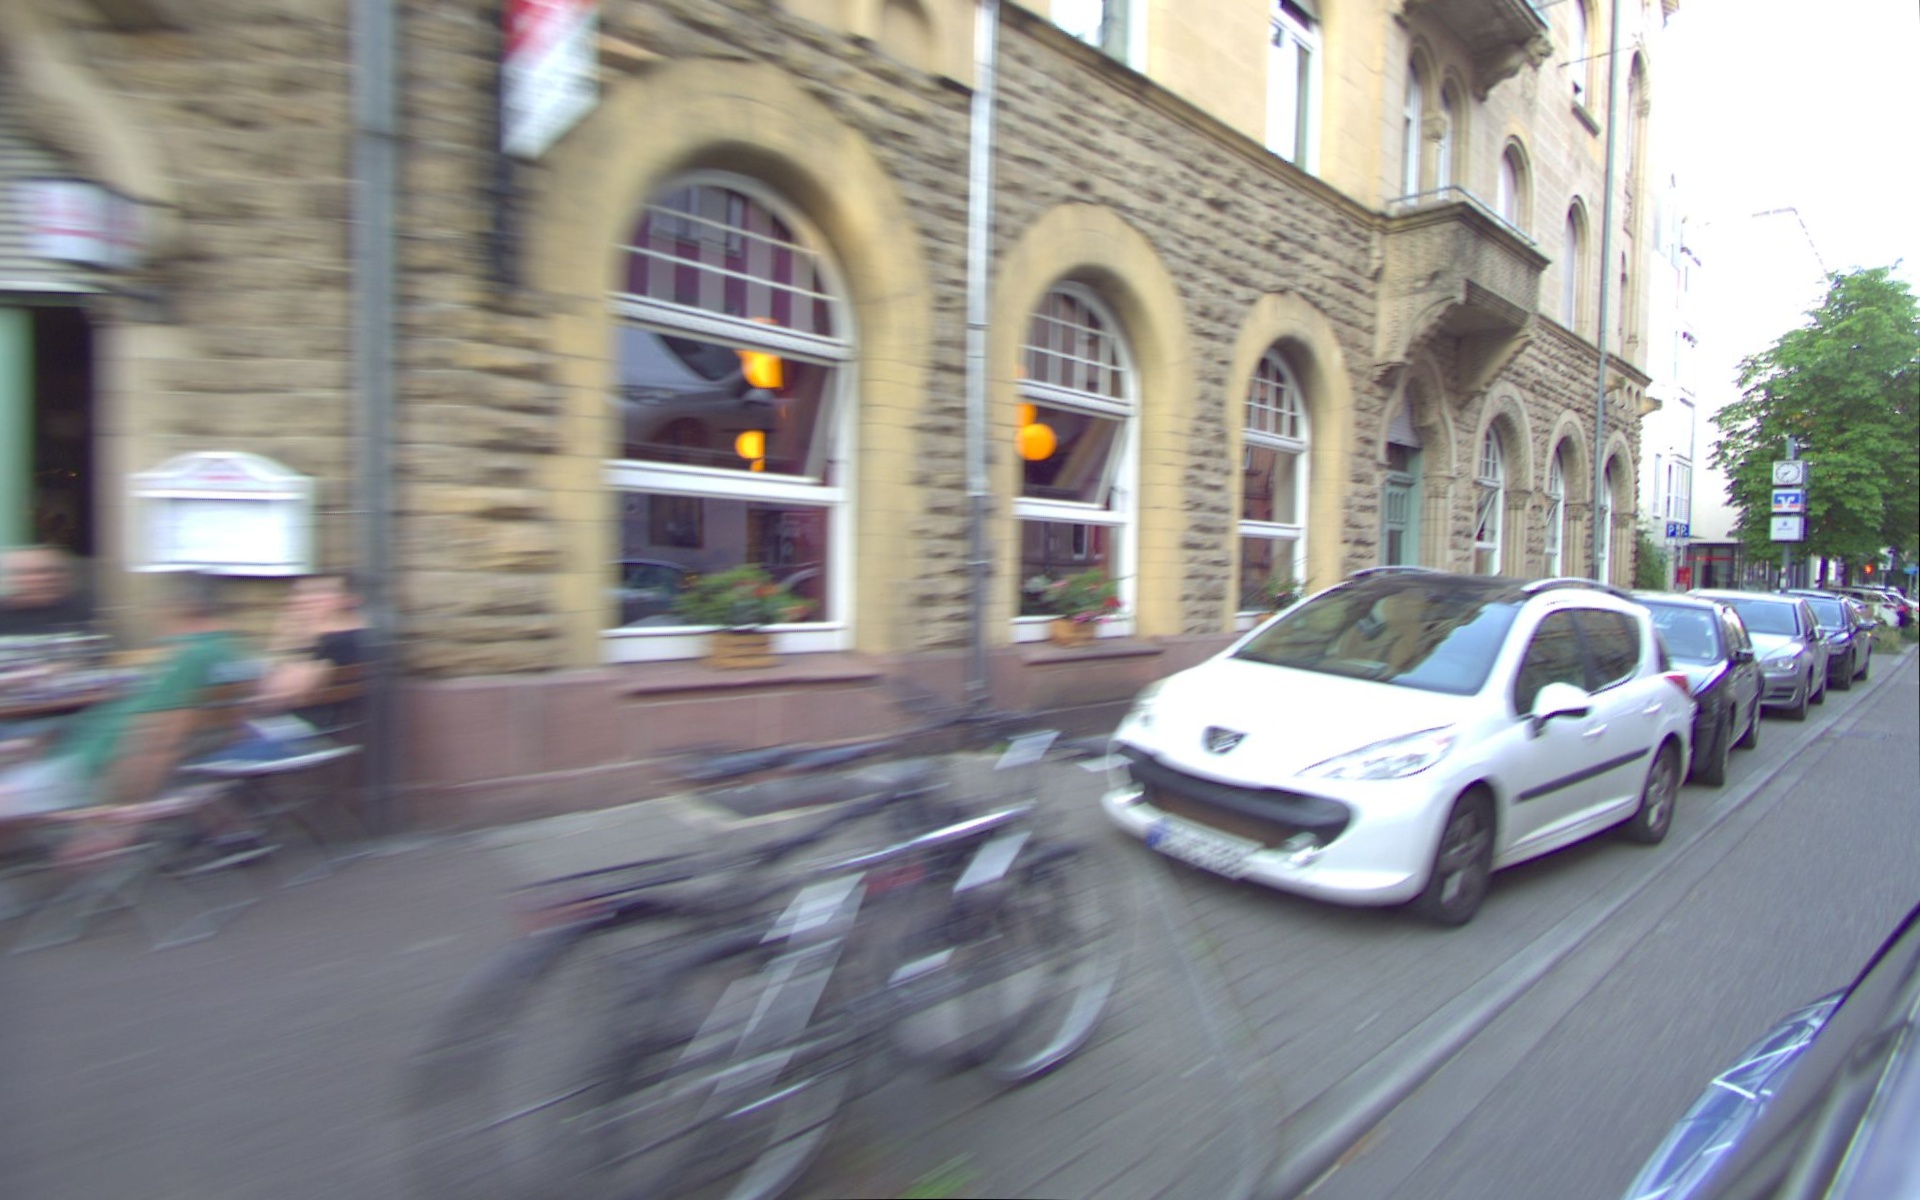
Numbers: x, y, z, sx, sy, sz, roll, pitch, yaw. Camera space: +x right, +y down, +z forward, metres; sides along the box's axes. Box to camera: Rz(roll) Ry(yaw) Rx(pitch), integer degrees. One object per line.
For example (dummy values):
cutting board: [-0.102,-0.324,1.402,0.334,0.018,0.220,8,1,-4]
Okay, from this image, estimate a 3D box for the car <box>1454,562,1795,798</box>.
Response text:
car: [6.171,0.507,9.144,1.764,1.502,4.486,7,5,43]

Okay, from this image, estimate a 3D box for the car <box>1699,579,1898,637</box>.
car: [24.557,0.189,29.752,1.793,1.469,4.295,0,2,-44]

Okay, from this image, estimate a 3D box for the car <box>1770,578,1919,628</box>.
car: [31.044,0.059,35.190,1.793,1.547,4.295,0,2,-44]

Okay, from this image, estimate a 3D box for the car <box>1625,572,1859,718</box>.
car: [10.288,0.458,13.177,4.483,1.502,1.765,0,4,-45]

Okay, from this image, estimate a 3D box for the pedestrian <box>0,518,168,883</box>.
pedestrian: [-4.130,0.365,4.177,0.881,1.413,1.011,3,2,4]

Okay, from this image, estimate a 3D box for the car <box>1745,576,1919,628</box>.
car: [29.105,0.022,33.816,1.793,1.547,4.295,0,2,-44]

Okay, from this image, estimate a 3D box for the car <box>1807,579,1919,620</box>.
car: [38.397,-0.042,42.394,1.793,1.547,4.295,0,2,-44]

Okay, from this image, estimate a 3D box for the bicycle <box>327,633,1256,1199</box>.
bicycle: [-0.203,0.723,2.378,2.079,1.165,0.685,0,5,-43]

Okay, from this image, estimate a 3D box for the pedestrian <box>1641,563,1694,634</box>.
pedestrian: [18.364,-0.047,26.271,0.819,1.788,0.851,0,3,-40]

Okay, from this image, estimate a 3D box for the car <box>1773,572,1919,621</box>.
car: [34.435,-0.170,39.253,1.793,1.697,4.295,0,2,-44]

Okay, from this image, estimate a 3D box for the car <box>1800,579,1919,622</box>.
car: [36.774,0.011,40.806,1.793,1.555,4.295,0,2,-44]

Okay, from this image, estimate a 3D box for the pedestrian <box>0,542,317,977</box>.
pedestrian: [-3.231,0.468,3.582,1.394,1.301,0.841,2,3,4]

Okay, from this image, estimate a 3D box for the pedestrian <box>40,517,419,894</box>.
pedestrian: [-3.022,0.389,4.327,1.080,1.413,0.844,2,3,-18]

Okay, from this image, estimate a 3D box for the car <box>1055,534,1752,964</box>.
car: [2.754,0.509,5.754,4.383,1.502,1.769,0,5,-40]

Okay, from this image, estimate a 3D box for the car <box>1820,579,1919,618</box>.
car: [40.284,-0.066,43.938,1.793,1.547,4.295,0,2,-44]

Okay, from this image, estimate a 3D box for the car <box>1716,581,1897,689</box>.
car: [14.375,0.490,17.095,4.480,1.502,1.766,0,4,-43]
